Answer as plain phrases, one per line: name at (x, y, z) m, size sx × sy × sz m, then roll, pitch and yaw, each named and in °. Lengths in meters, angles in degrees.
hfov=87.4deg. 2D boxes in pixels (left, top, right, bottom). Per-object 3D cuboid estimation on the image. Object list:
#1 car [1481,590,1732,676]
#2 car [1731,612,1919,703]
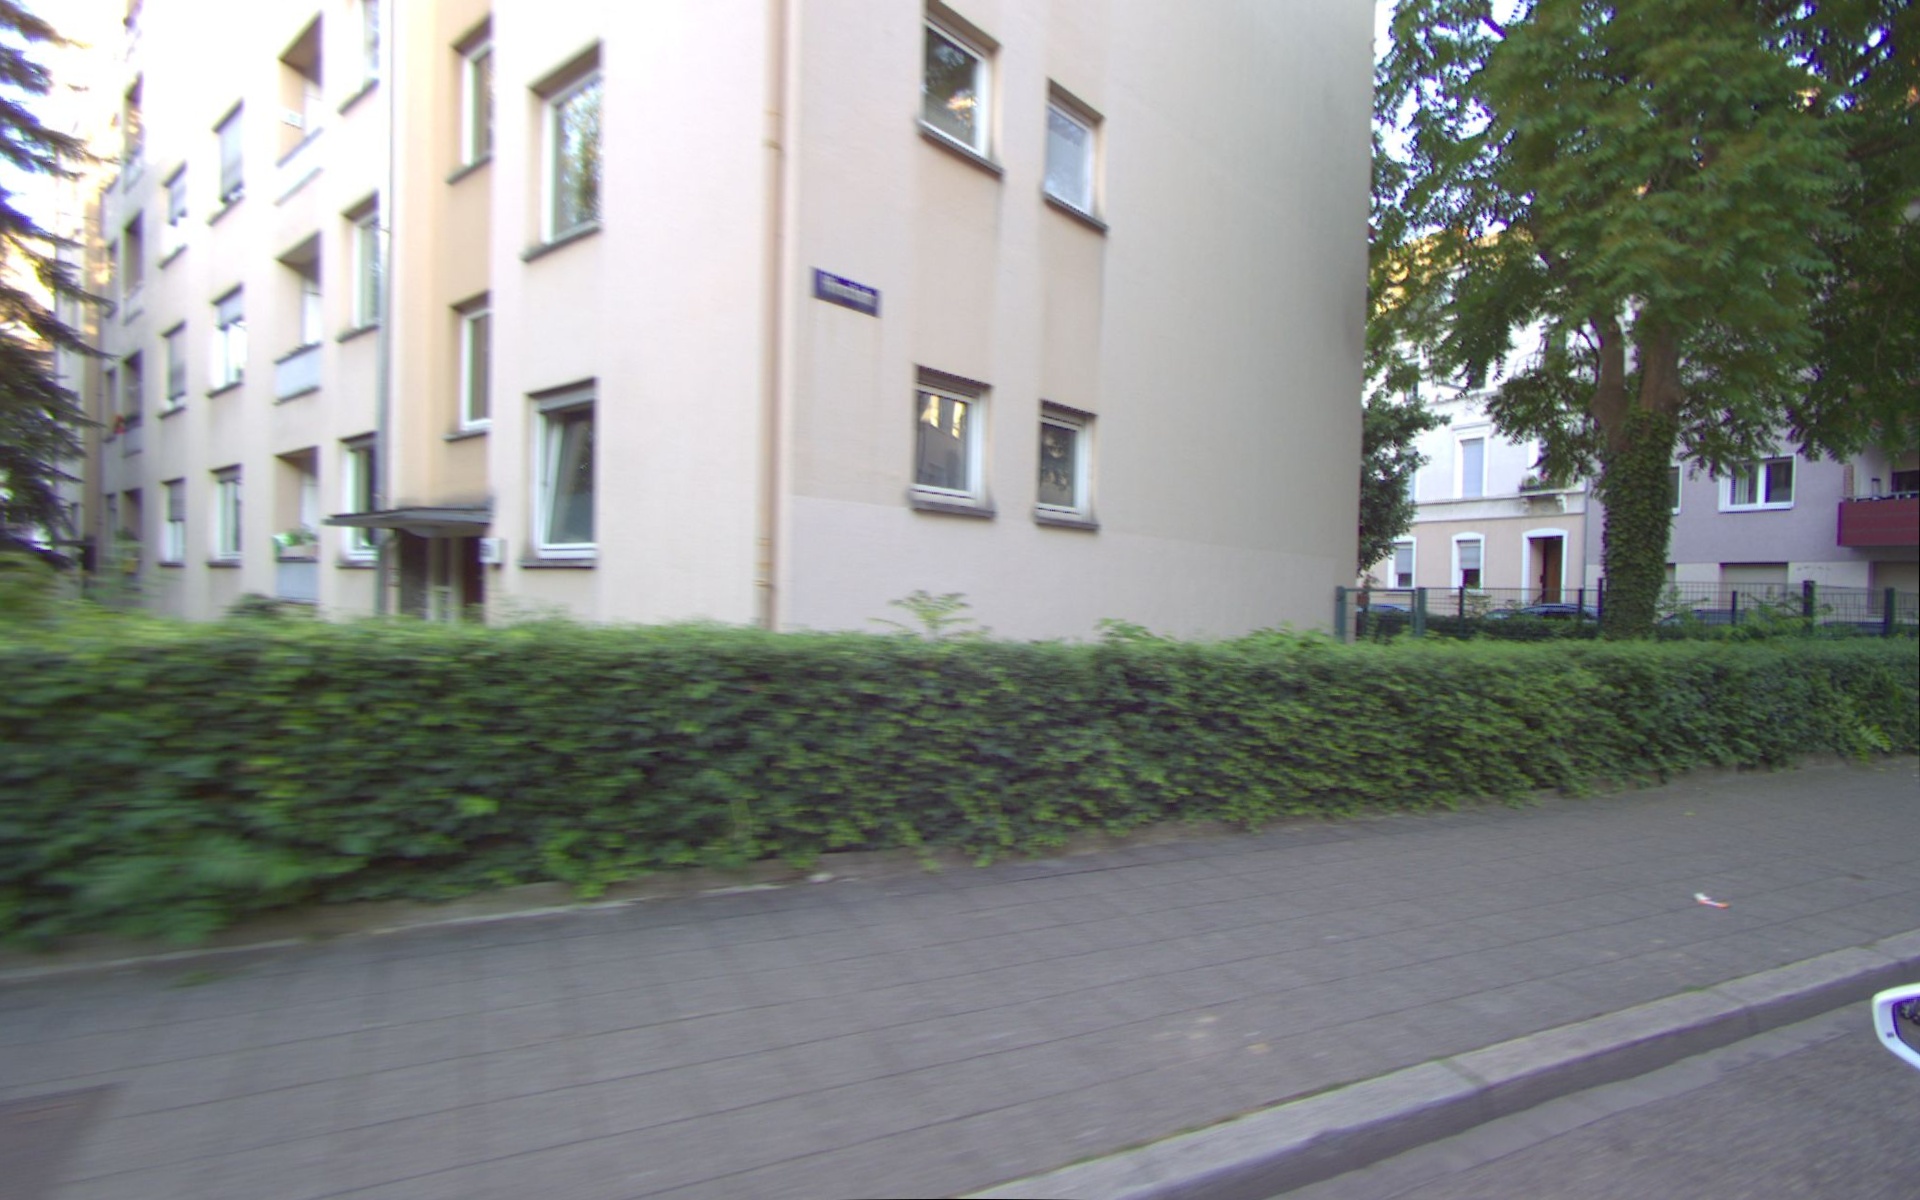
car at (13.994, 0.638, 22.068) m, size 1.803 × 1.662 × 4.358 m, roll 1°, pitch 0°, yaw -24°
car at (16.549, 1.001, 17.772) m, size 1.665 × 1.477 × 4.328 m, roll 1°, pitch 0°, yaw -27°
